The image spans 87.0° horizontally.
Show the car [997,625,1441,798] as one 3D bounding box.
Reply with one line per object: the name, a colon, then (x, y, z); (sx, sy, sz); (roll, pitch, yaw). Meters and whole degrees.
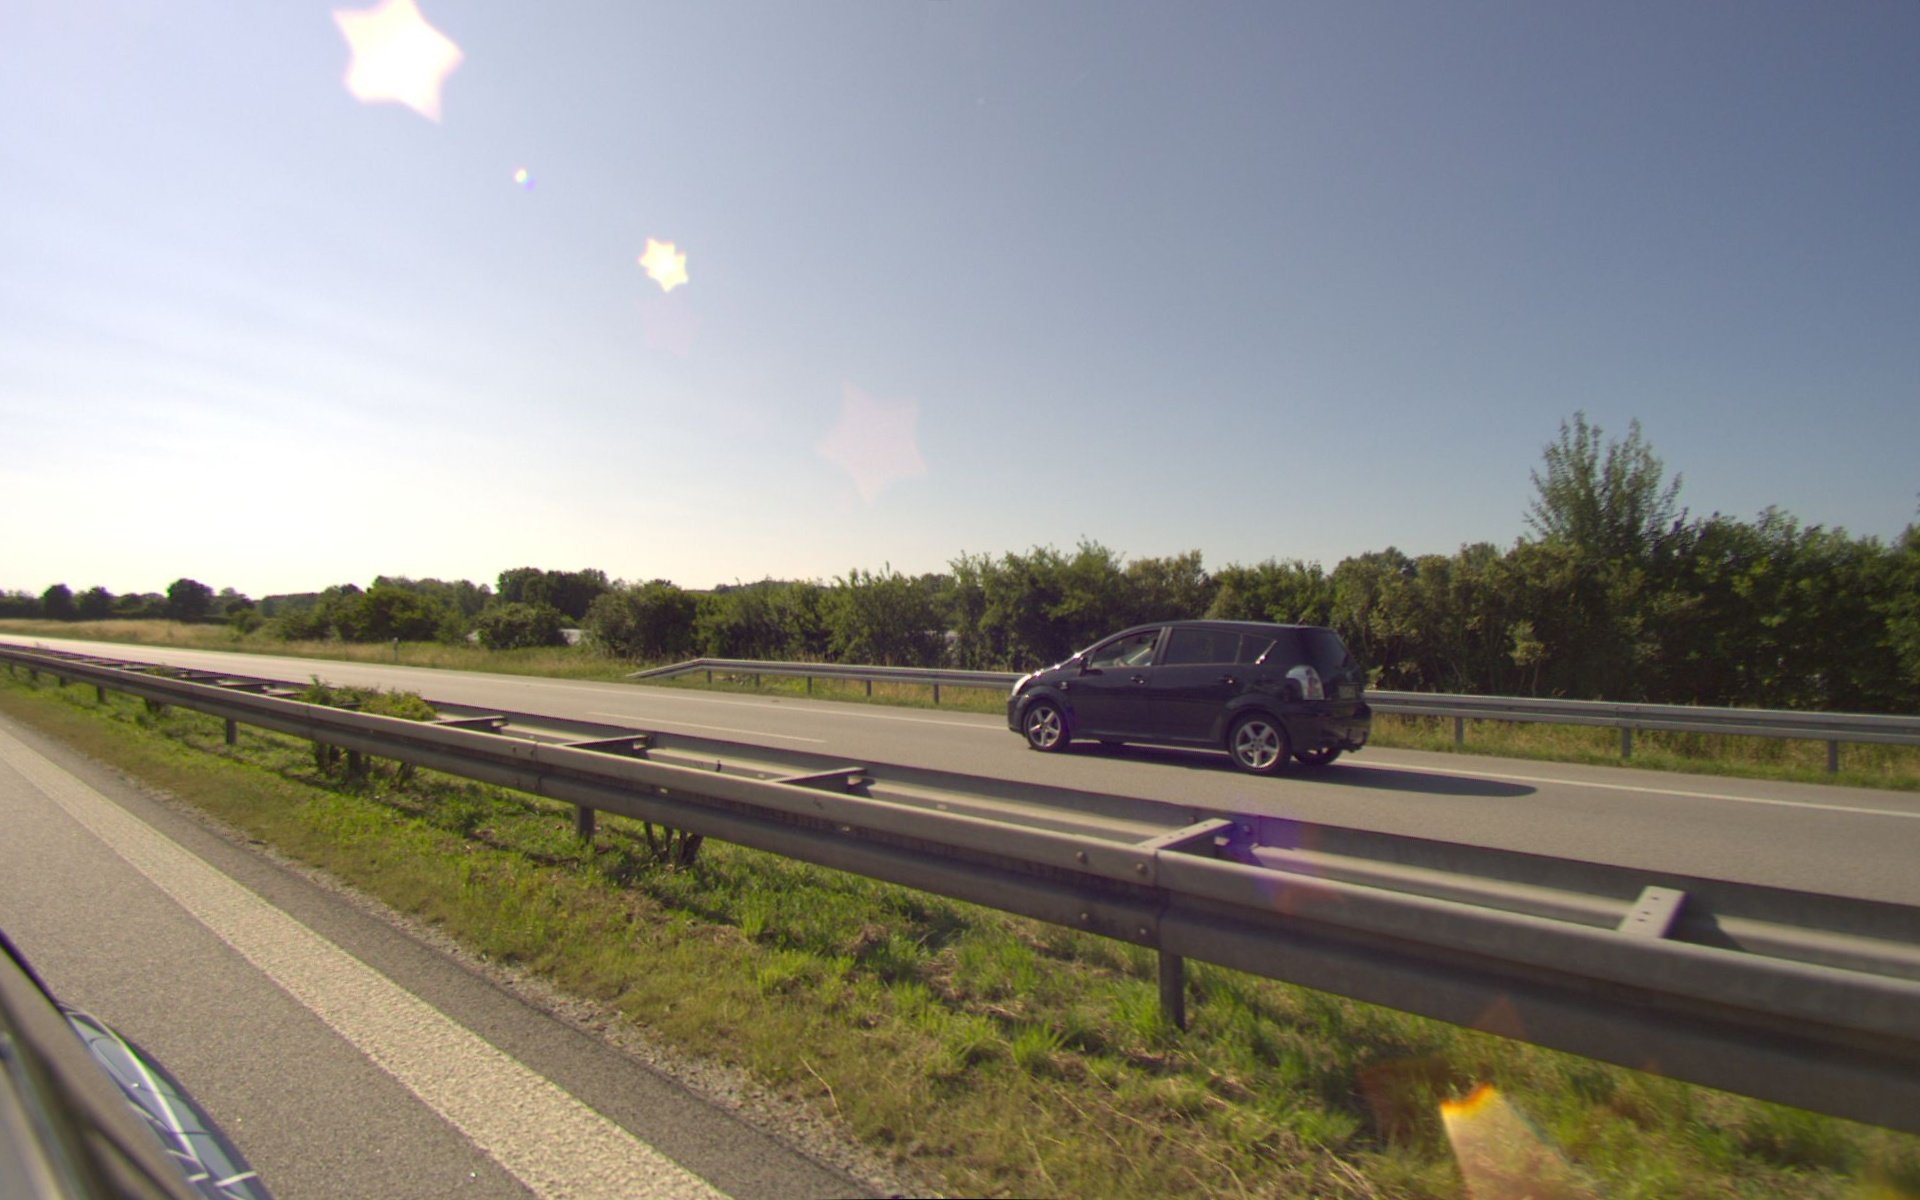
car: (2.803, 1.119, 11.662); (4.654, 1.583, 1.810); (-1, -3, 41)
